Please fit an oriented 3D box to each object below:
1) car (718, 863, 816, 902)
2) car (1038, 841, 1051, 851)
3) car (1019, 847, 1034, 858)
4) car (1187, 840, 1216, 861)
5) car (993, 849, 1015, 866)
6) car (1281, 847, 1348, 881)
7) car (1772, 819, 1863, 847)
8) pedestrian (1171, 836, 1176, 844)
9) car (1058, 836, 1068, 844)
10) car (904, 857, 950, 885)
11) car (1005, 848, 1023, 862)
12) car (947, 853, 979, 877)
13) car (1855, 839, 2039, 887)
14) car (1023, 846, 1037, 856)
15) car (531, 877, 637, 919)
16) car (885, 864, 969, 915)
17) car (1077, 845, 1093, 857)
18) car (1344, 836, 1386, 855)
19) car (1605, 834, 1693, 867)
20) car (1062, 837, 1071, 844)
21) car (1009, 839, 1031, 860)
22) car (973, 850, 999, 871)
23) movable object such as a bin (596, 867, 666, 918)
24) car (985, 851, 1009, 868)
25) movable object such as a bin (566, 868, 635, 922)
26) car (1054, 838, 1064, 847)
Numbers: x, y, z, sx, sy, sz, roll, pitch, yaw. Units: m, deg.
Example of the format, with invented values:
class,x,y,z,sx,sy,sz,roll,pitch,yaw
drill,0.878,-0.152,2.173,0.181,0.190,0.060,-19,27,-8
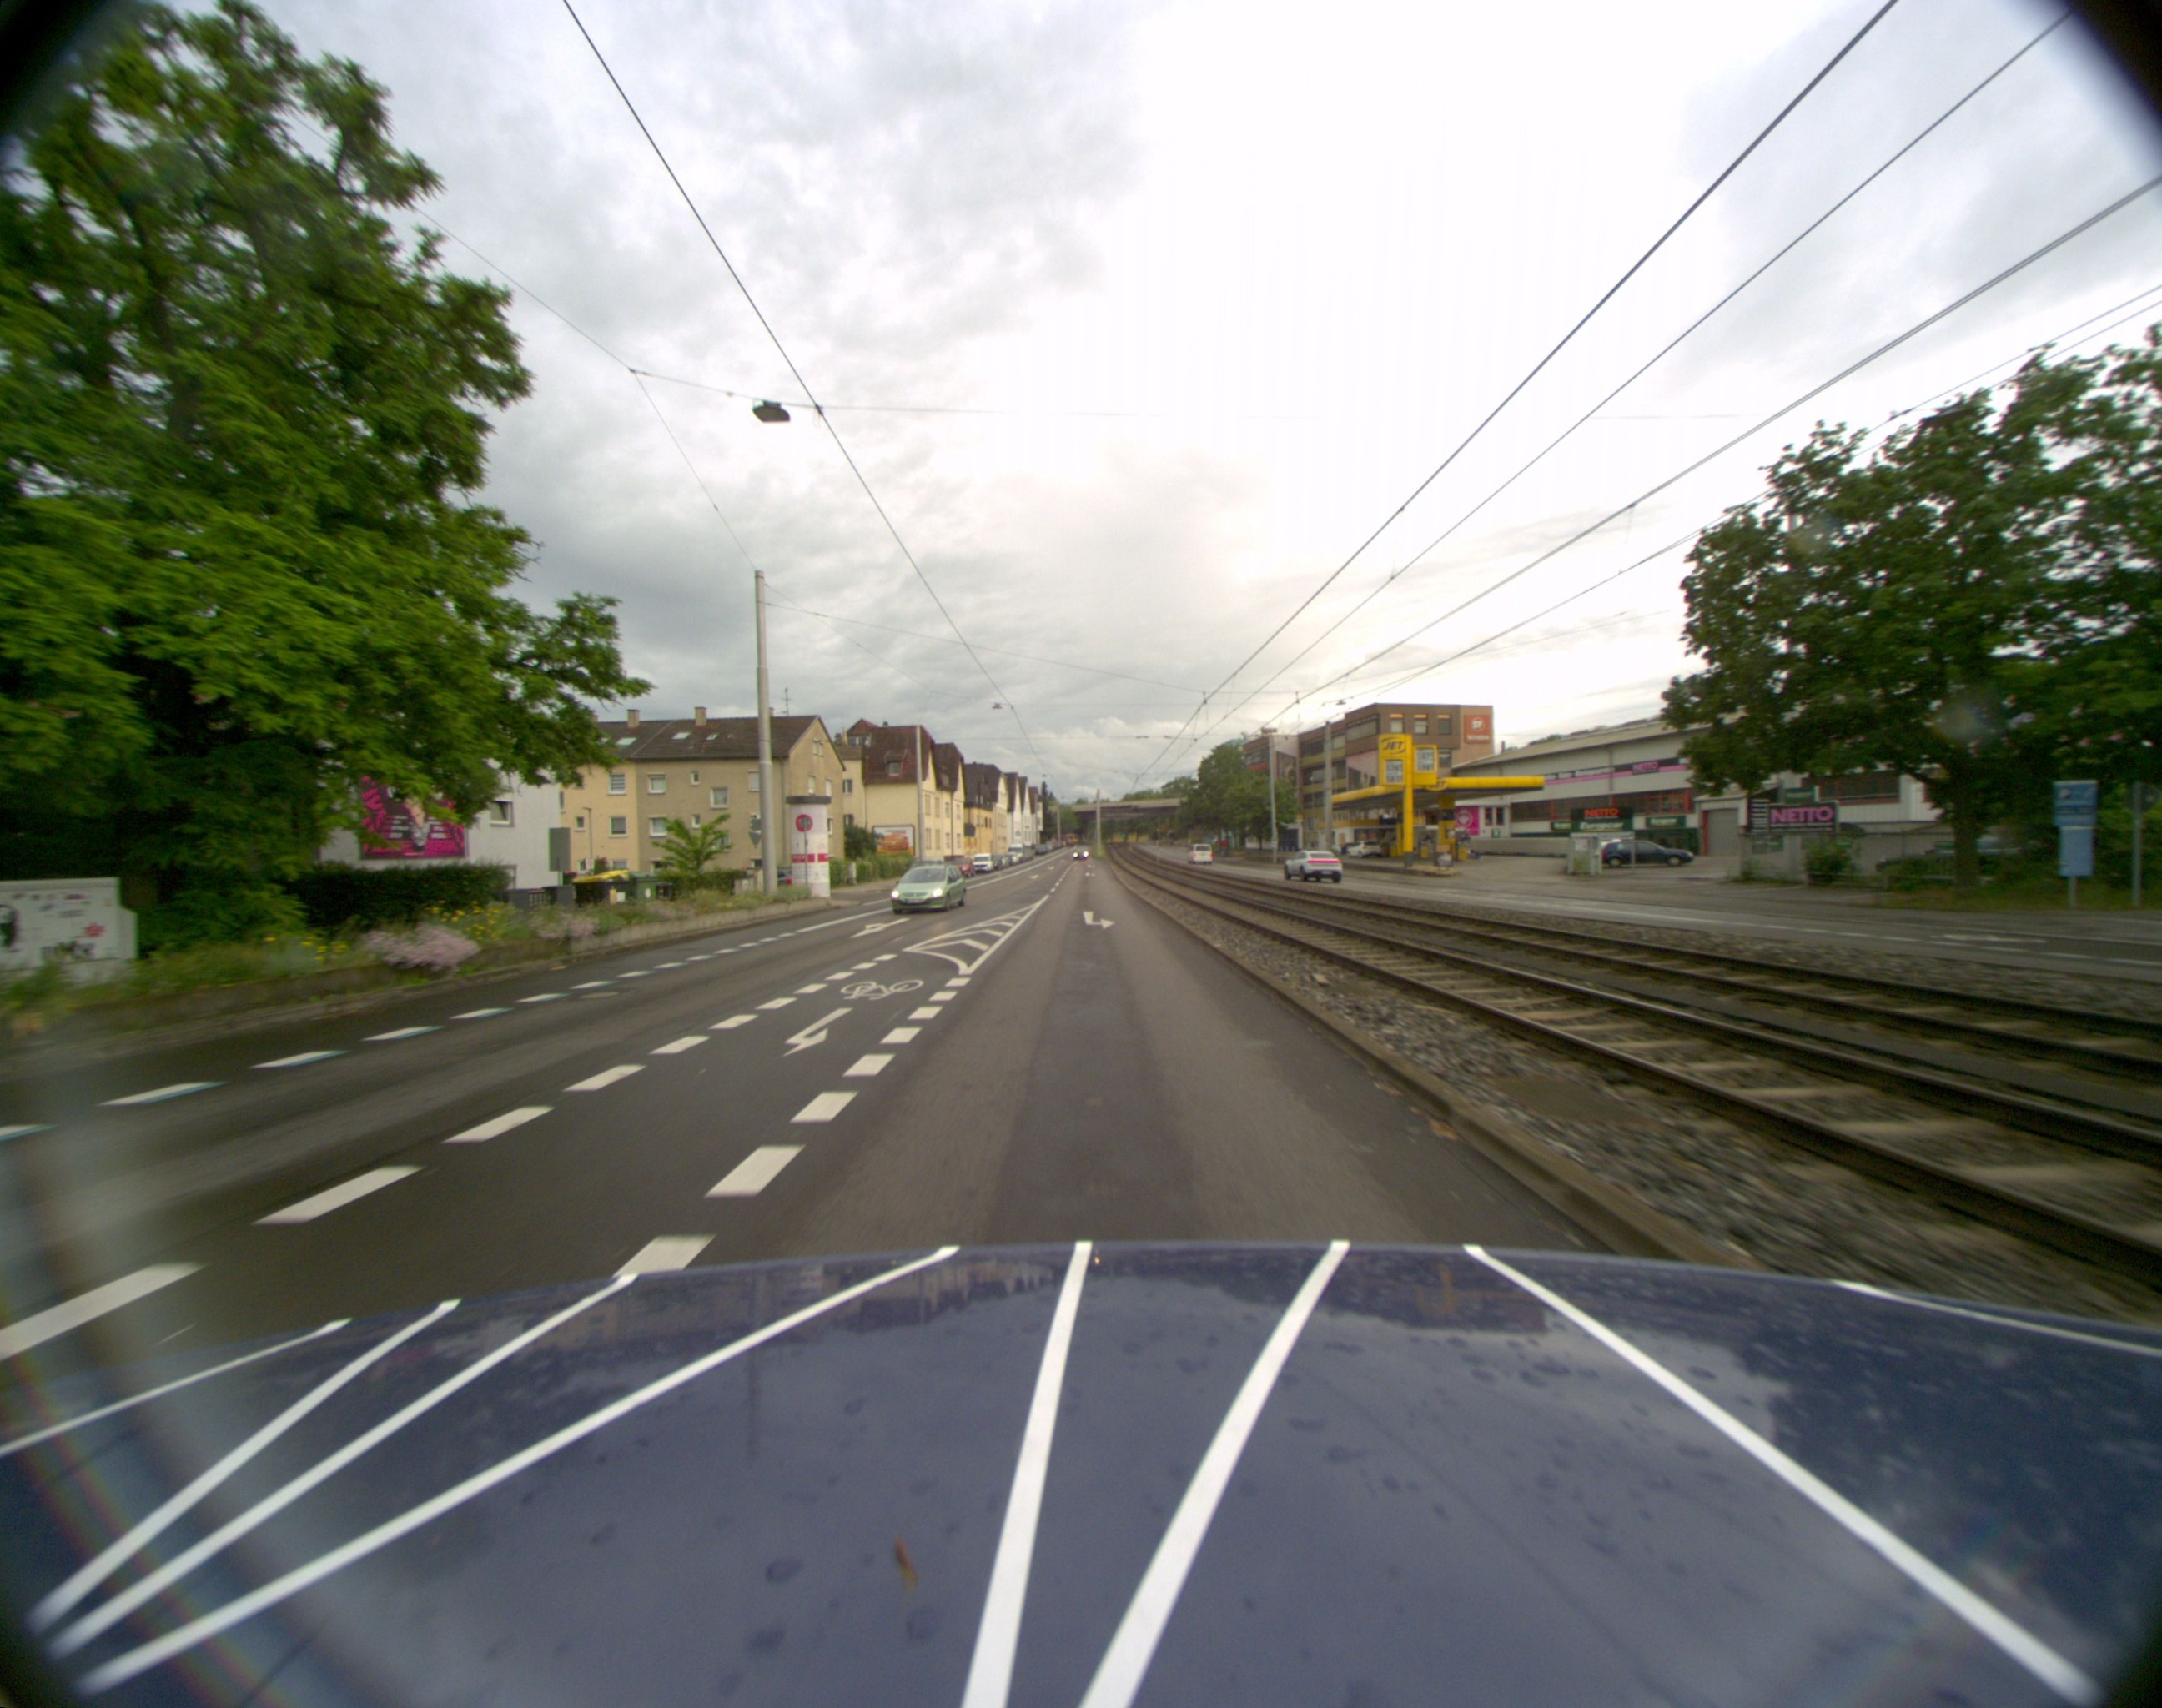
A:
class,x,y,z,sx,sy,sz,roll,pitch,yaw
car,-16.680,1.511,40.506,4.283,1.646,1.879,-4,2,4
car,-6.153,-1.315,129.063,1.726,1.539,4.200,-3,2,3
car,-7.466,-0.201,104.291,1.726,1.338,4.083,-3,2,0
car,12.154,-0.398,76.989,1.999,2.002,5.059,1,1,0
car,-8.232,0.387,81.914,1.705,1.557,4.281,-3,2,2
car,12.217,0.484,40.034,1.999,1.640,4.759,0,0,-1
car,44.506,-1.239,45.962,4.100,1.640,1.850,0,1,-9
pedestrian,19.255,-3.000,158.307,0.747,1.636,1.021,-1,2,2
car,-3.909,-3.020,167.192,1.726,1.539,4.200,-3,2,3
car,-9.476,1.023,47.107,1.841,1.525,4.438,-3,1,0
car,-8.035,0.126,91.772,1.605,1.456,4.200,-3,2,2
car,-9.363,0.849,60.529,1.841,1.619,4.098,-3,1,1
car,30.275,0.258,26.749,1.691,1.448,3.996,-3,2,-8
car,-7.417,-0.447,110.836,1.726,1.338,4.199,-3,2,0
car,-26.742,2.331,40.983,4.284,1.785,1.878,-4,2,0
car,-5.014,1.112,25.318,1.888,1.440,4.200,-2,0,0
car,0.496,-0.409,97.936,1.888,1.417,4.199,-3,2,1
car,23.434,-0.735,62.746,1.775,1.408,4.073,-3,2,-2
car,29.591,-0.174,39.668,3.591,1.580,1.706,-1,3,37
car,-3.339,-3.049,172.966,1.726,1.539,4.200,-3,2,3
car,-7.777,-0.607,97.442,2.045,2.485,5.919,-3,2,1
car,-8.782,0.550,70.385,1.852,1.746,4.520,-3,1,-1
movable object such as a bin,-13.986,1.180,23.662,1.314,1.410,1.299,-3,2,-2
car,-8.360,0.529,76.028,1.690,1.503,4.136,-3,1,2
movable object such as a bin,-13.974,1.183,22.147,1.187,1.410,1.134,-3,2,-2
car,-4.537,-2.393,157.387,1.726,1.539,4.200,-3,2,3
